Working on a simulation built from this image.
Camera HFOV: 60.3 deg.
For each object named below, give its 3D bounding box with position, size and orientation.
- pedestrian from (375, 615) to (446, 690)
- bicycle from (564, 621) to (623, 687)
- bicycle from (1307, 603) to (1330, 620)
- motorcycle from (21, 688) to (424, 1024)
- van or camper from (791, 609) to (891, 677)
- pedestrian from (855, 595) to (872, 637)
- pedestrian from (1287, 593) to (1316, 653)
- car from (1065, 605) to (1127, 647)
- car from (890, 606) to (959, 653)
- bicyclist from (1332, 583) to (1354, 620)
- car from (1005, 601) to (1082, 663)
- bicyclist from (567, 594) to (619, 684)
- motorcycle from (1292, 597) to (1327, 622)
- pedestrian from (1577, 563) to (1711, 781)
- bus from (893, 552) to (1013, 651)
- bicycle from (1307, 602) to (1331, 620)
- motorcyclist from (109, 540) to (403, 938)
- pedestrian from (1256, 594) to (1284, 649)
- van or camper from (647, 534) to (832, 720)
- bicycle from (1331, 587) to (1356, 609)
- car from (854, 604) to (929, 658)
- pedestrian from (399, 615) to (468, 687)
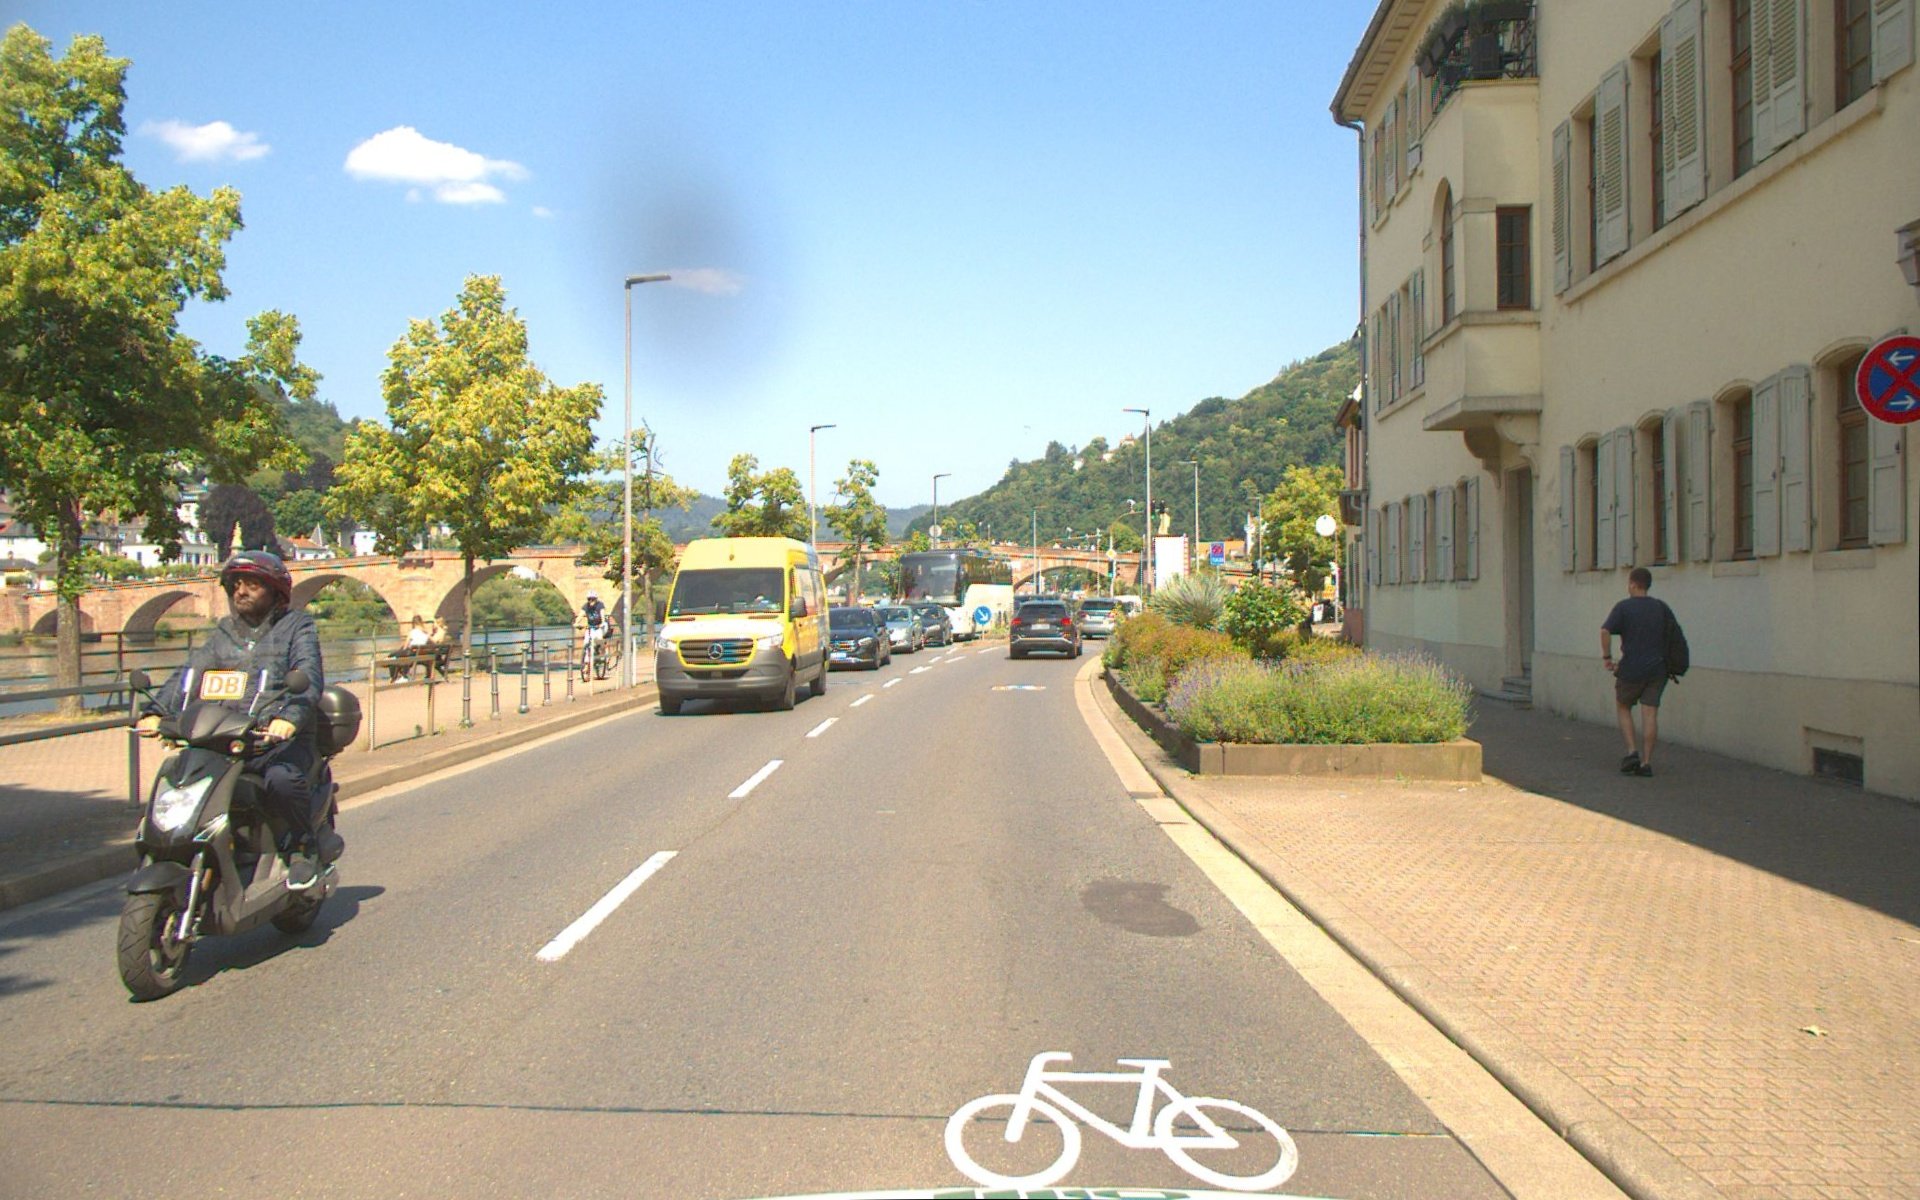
[{"bbox_3d":[-9.853,0.936,29.691,0.916,1.303,0.850,-1,-1,8],"label":"pedestrian"},{"bbox_3d":[-7.117,1.032,32.207,0.697,1.189,1.896,0,0,1],"label":"bicycle"},{"bbox_3d":[23.530,0.783,108.580,1.452,1.065,0.251,-2,-1,9],"label":"bicycle"},{"bbox_3d":[-3.074,0.995,7.219,0.866,1.096,2.325,-1,-1,-5],"label":"motorcycle"},{"bbox_3d":[-2.845,1.009,40.657,1.952,1.480,4.683,-3,0,1],"label":"van or camper"},{"bbox_3d":[-4.267,0.709,73.079,0.607,1.811,0.662,-1,0,7],"label":"pedestrian"},{"bbox_3d":[10.160,0.683,49.274,0.722,1.728,0.934,-2,-1,7],"label":"pedestrian"},{"bbox_3d":[5.214,0.954,62.967,1.885,1.486,4.836,-1,0,10],"label":"car"},{"bbox_3d":[-1.173,0.976,56.453,1.778,1.454,4.195,-2,0,6],"label":"car"},{"bbox_3d":[17.238,0.067,74.448,0.751,1.611,1.089,-1,-1,1],"label":"bicyclist"},{"bbox_3d":[2.328,0.834,44.986,1.886,1.580,4.835,0,0,5],"label":"car"},{"bbox_3d":[-7.119,0.745,32.130,0.725,1.697,1.089,-1,0,1],"label":"bicyclist"},{"bbox_3d":[22.073,0.578,104.437,0.755,1.491,2.271,0,-2,-34],"label":"motorcycle"},{"bbox_3d":[5.743,0.591,13.924,0.746,1.743,0.696,-4,-1,2],"label":"pedestrian"},{"bbox_3d":[-0.068,0.144,67.780,2.575,3.627,12.993,-1,-1,10],"label":"bus"},{"bbox_3d":[23.521,0.740,108.332,1.452,1.139,0.251,-2,-1,9],"label":"bicycle"},{"bbox_3d":[-3.054,0.569,7.283,0.861,1.611,1.024,-1,-1,-2],"label":"motorcyclist"},{"bbox_3d":[9.258,0.646,49.386,0.745,1.623,0.696,-1,0,7],"label":"pedestrian"},{"bbox_3d":[-3.386,0.407,26.900,2.044,2.602,7.091,0,0,0],"label":"van or camper"},{"bbox_3d":[17.232,-0.097,74.311,0.734,0.981,1.782,0,-1,1],"label":"bicycle"},{"bbox_3d":[-2.066,0.919,50.924,1.775,1.453,4.313,-3,0,4],"label":"car"},{"bbox_3d":[-9.735,0.930,30.597,0.916,1.303,0.850,-1,-1,8],"label":"pedestrian"}]
